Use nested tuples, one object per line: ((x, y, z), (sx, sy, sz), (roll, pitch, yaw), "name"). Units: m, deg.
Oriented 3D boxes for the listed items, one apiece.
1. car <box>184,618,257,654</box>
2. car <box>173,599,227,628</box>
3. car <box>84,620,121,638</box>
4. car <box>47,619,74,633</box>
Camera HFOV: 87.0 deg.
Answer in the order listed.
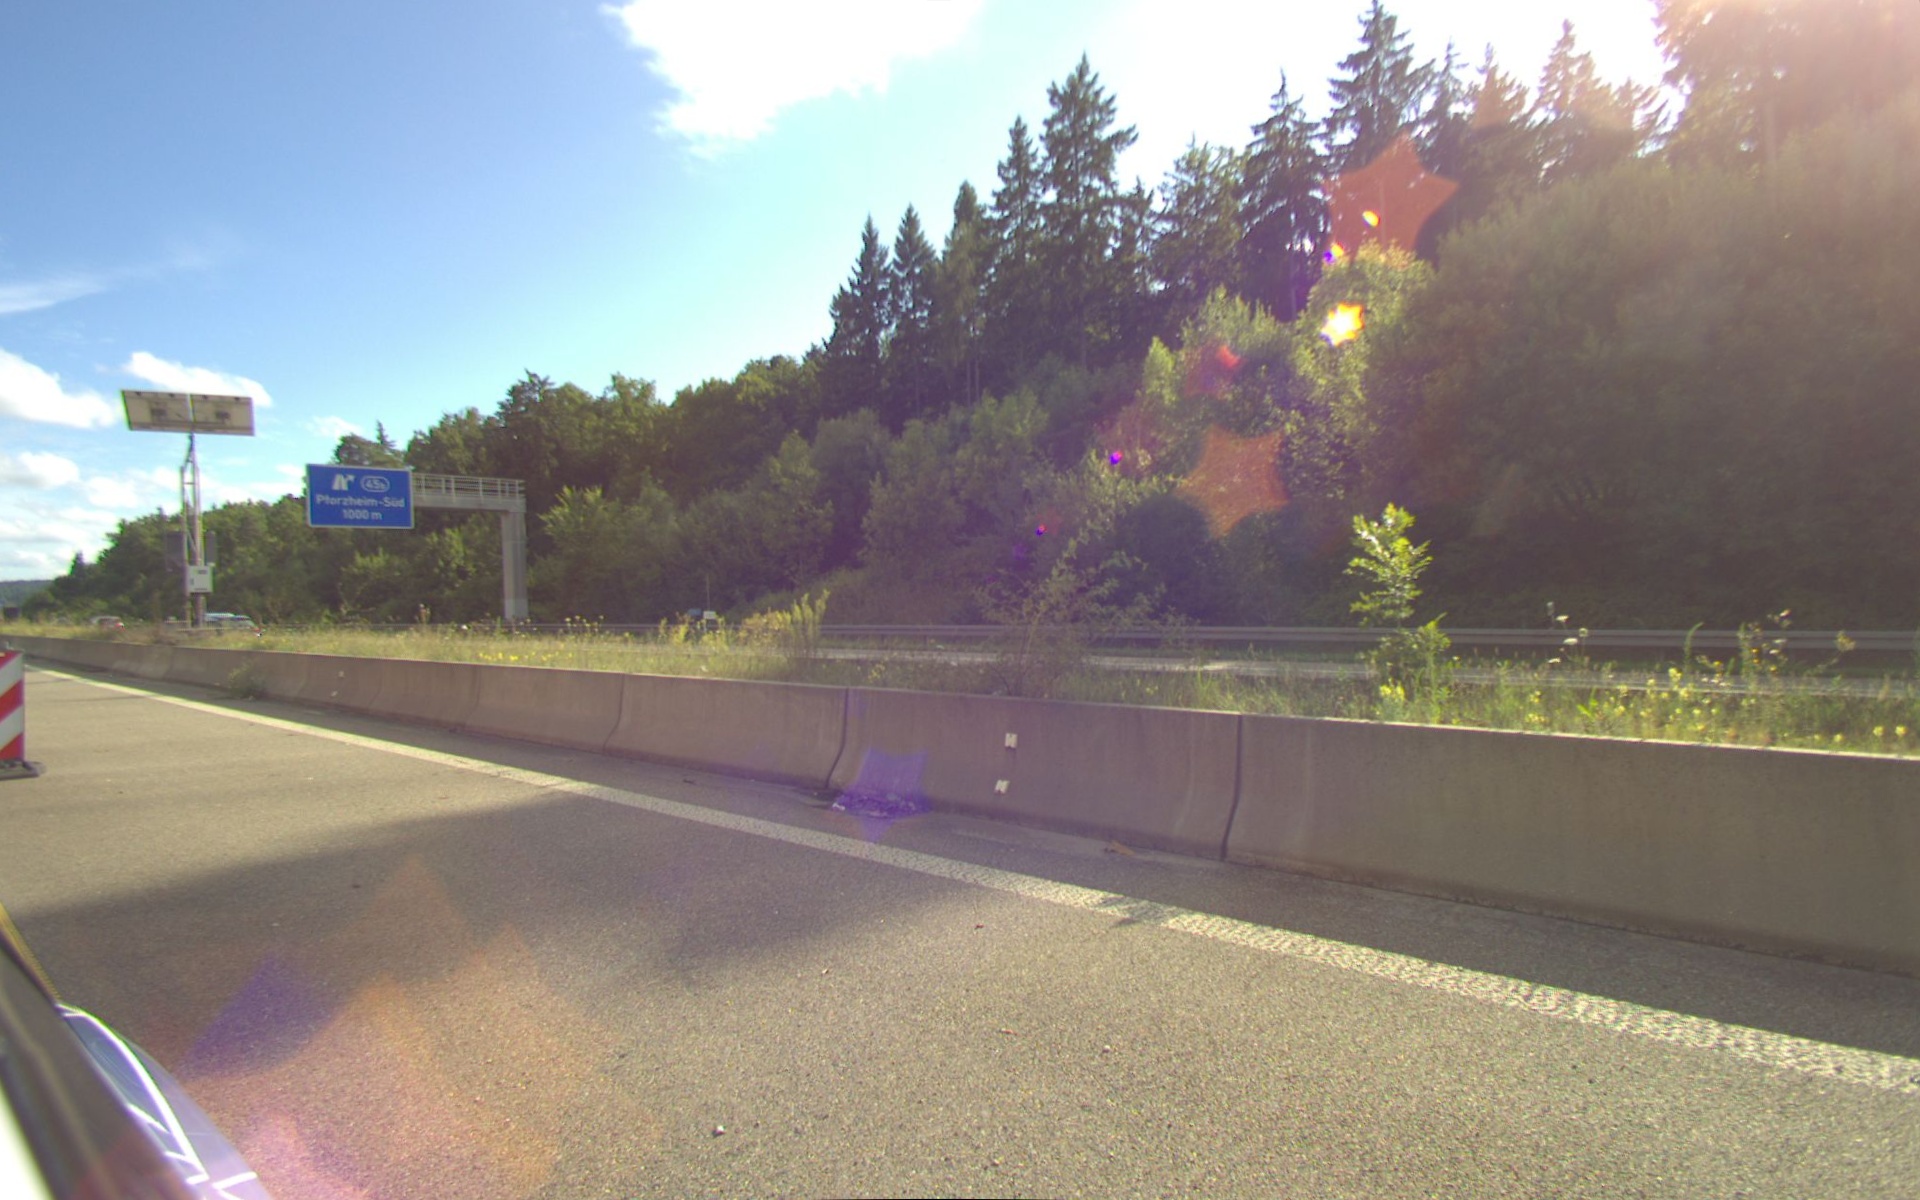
((-30.914, 1.467, 42.275), (3.910, 1.398, 1.643), (-1, 0, 41), "car")
((-42.903, 0.758, 57.089), (3.910, 1.593, 1.643), (-1, 0, 41), "car")
((-68.701, 2.300, 81.077), (3.910, 1.398, 1.643), (-1, 0, 41), "car")
((-106.414, 3.069, 119.752), (3.910, 1.475, 1.920), (-1, 0, 41), "car")
